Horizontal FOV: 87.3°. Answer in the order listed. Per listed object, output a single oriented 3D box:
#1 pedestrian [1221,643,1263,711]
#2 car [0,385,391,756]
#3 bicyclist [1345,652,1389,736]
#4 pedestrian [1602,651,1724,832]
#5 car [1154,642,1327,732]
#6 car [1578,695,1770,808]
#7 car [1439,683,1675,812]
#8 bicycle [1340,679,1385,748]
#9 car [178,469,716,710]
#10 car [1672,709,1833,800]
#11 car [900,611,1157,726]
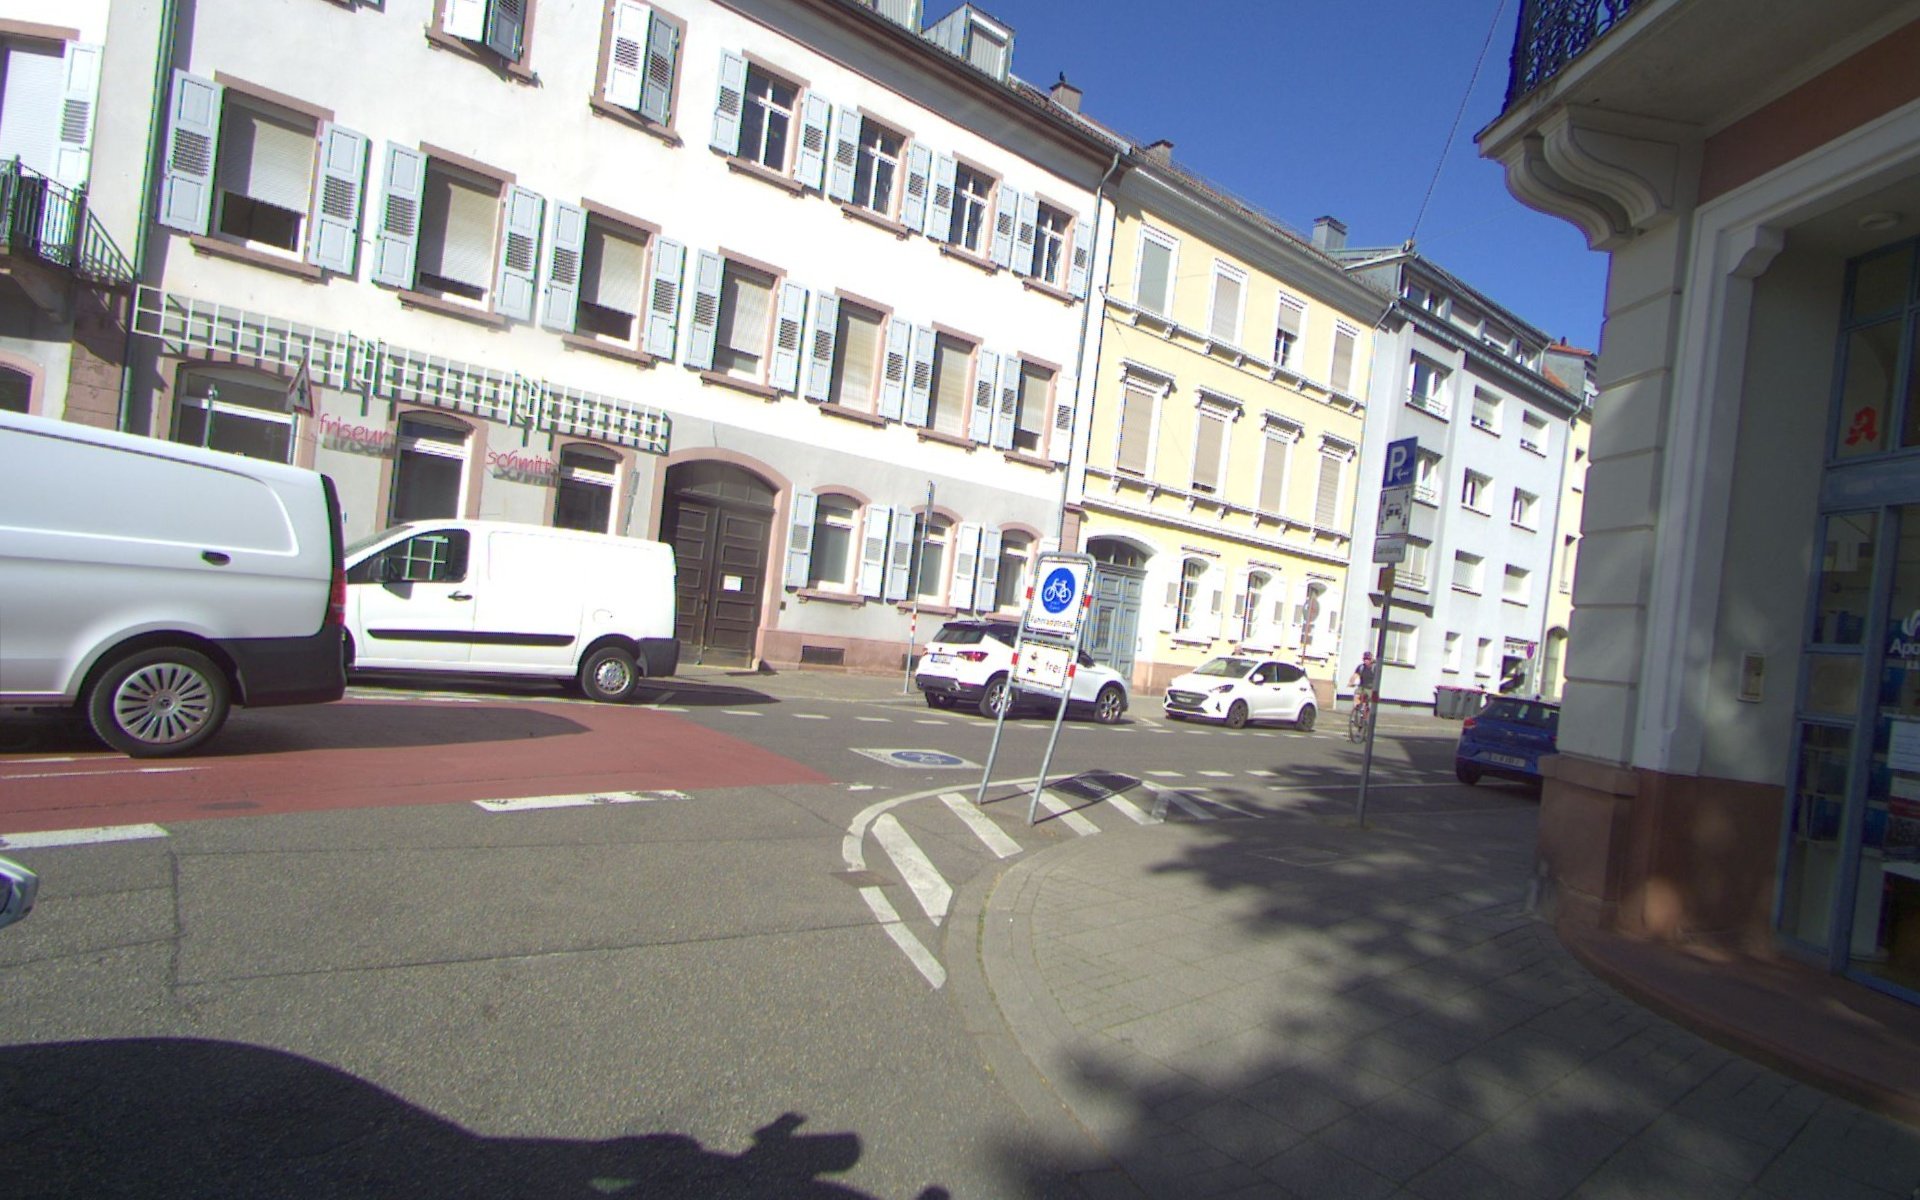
[{"bbox_3d":[7.123,1.947,25.409,0.634,1.620,0.579,6,0,-37],"label":"pedestrian"},{"bbox_3d":[-6.369,-0.310,5.267,2.078,1.930,5.402,6,-1,40],"label":"car"},{"bbox_3d":[8.117,1.866,20.077,0.627,1.565,1.025,7,0,23],"label":"bicyclist"},{"bbox_3d":[7.276,1.458,10.466,0.818,1.782,0.751,-6,-5,29],"label":"pedestrian"},{"bbox_3d":[6.000,1.870,21.391,3.609,1.559,1.616,8,-3,-38],"label":"car"},{"bbox_3d":[12.906,2.696,18.133,3.608,1.557,1.689,6,2,-38],"label":"car"},{"bbox_3d":[9.002,2.174,15.082,3.608,1.452,1.689,6,2,-38],"label":"car"},{"bbox_3d":[8.014,2.221,19.983,0.660,1.214,1.925,7,-1,24],"label":"bicycle"},{"bbox_3d":[-5.625,0.015,11.467,4.984,1.969,2.030,8,-1,-37],"label":"car"},{"bbox_3d":[16.638,3.207,21.077,3.608,1.452,1.689,6,2,-38],"label":"car"},{"bbox_3d":[1.273,1.222,17.355,4.347,1.559,1.630,8,-3,-38],"label":"car"}]
